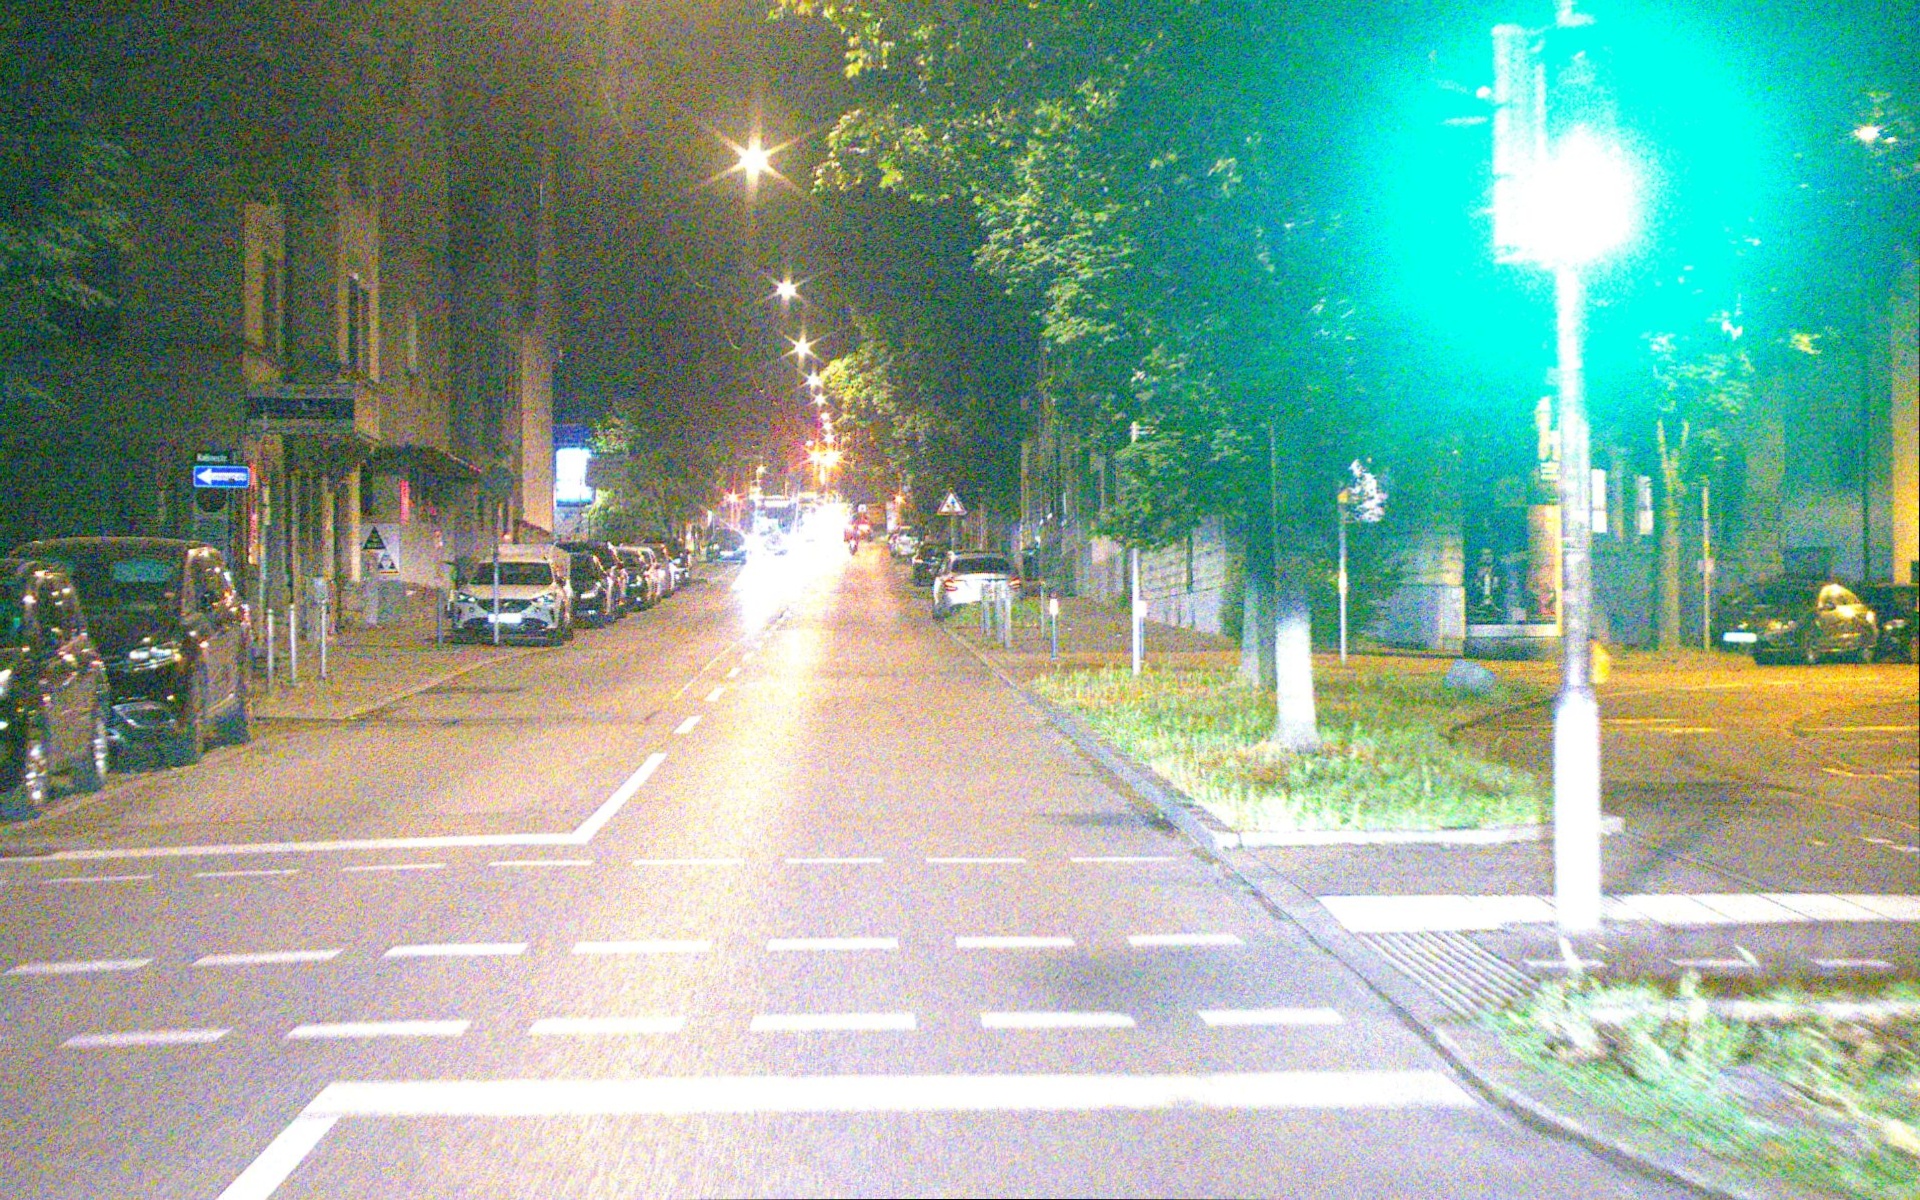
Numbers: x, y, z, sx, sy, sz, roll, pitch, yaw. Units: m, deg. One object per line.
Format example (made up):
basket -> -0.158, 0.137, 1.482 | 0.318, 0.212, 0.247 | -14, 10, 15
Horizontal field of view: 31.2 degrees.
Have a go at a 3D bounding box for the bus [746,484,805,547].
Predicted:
bus -> -9.712, -4.482, 181.879 | 2.837, 3.166, 10.500 | 1, 2, -2

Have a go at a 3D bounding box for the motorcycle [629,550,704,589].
motorcycle -> -8.683, -0.897, 101.640 | 2.205, 1.127, 0.714 | 1, 2, 31

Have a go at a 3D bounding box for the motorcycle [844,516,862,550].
motorcycle -> -5.620, -3.530, 180.916 | 0.931, 1.746, 2.625 | 1, 0, -2

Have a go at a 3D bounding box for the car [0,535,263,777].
car -> -6.605, 0.353, 26.638 | 1.848, 1.644, 4.673 | 1, 2, -5

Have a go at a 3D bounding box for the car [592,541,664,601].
car -> -8.435, -0.747, 87.639 | 1.621, 1.486, 3.781 | 1, 1, -3

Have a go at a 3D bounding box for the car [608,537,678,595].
car -> -8.777, -0.959, 95.456 | 1.704, 1.486, 4.228 | -1, 2, -3

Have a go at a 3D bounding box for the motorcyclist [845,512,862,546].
motorcyclist -> -5.620, -3.722, 180.946 | 0.848, 1.746, 0.805 | 1, 0, -2

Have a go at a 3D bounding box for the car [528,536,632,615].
car -> -8.198, -0.547, 74.500 | 1.835, 1.613, 4.545 | 1, 1, -1

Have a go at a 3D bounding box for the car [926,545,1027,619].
car -> 0.320, -0.400, 72.288 | 1.845, 1.412, 4.646 | -3, 1, -2

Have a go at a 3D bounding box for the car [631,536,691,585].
car -> -9.313, -1.226, 107.372 | 1.638, 1.493, 2.765 | 0, 1, 0

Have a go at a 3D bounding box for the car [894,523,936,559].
car -> -2.105, -2.763, 159.683 | 1.812, 1.588, 4.274 | -1, 2, -2

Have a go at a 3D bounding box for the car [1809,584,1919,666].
car -> 17.015, 0.440, 62.396 | 1.800, 1.412, 3.829 | 1, 1, 36

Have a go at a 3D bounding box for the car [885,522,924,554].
car -> -2.802, -3.130, 172.932 | 1.868, 1.521, 4.150 | -1, 2, -2

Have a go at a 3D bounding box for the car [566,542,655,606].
car -> -8.416, -0.641, 83.057 | 1.863, 1.486, 4.281 | 1, 1, -3

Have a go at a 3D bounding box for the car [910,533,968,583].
car -> -0.700, -1.372, 110.804 | 1.763, 1.471, 4.081 | -2, 2, -1

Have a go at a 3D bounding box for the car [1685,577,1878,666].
car -> 13.781, 0.347, 57.563 | 1.800, 1.412, 3.829 | 1, 1, 36

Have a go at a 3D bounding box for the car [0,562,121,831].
car -> -6.302, 0.518, 21.207 | 1.647, 1.509, 3.703 | 1, 1, -5

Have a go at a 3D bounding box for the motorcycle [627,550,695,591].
motorcycle -> -8.674, -0.869, 99.620 | 0.714, 1.143, 2.208 | -2, 2, -44

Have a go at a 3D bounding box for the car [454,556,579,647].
car -> -7.541, -0.005, 58.801 | 1.814, 1.479, 4.348 | 0, 1, -3

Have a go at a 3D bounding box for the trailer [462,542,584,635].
trailer -> -8.023, -0.221, 63.375 | 1.638, 1.634, 3.439 | 1, 1, 3

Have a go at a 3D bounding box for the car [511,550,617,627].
car -> -7.954, -0.251, 69.340 | 1.835, 1.442, 4.545 | 0, 2, -3
